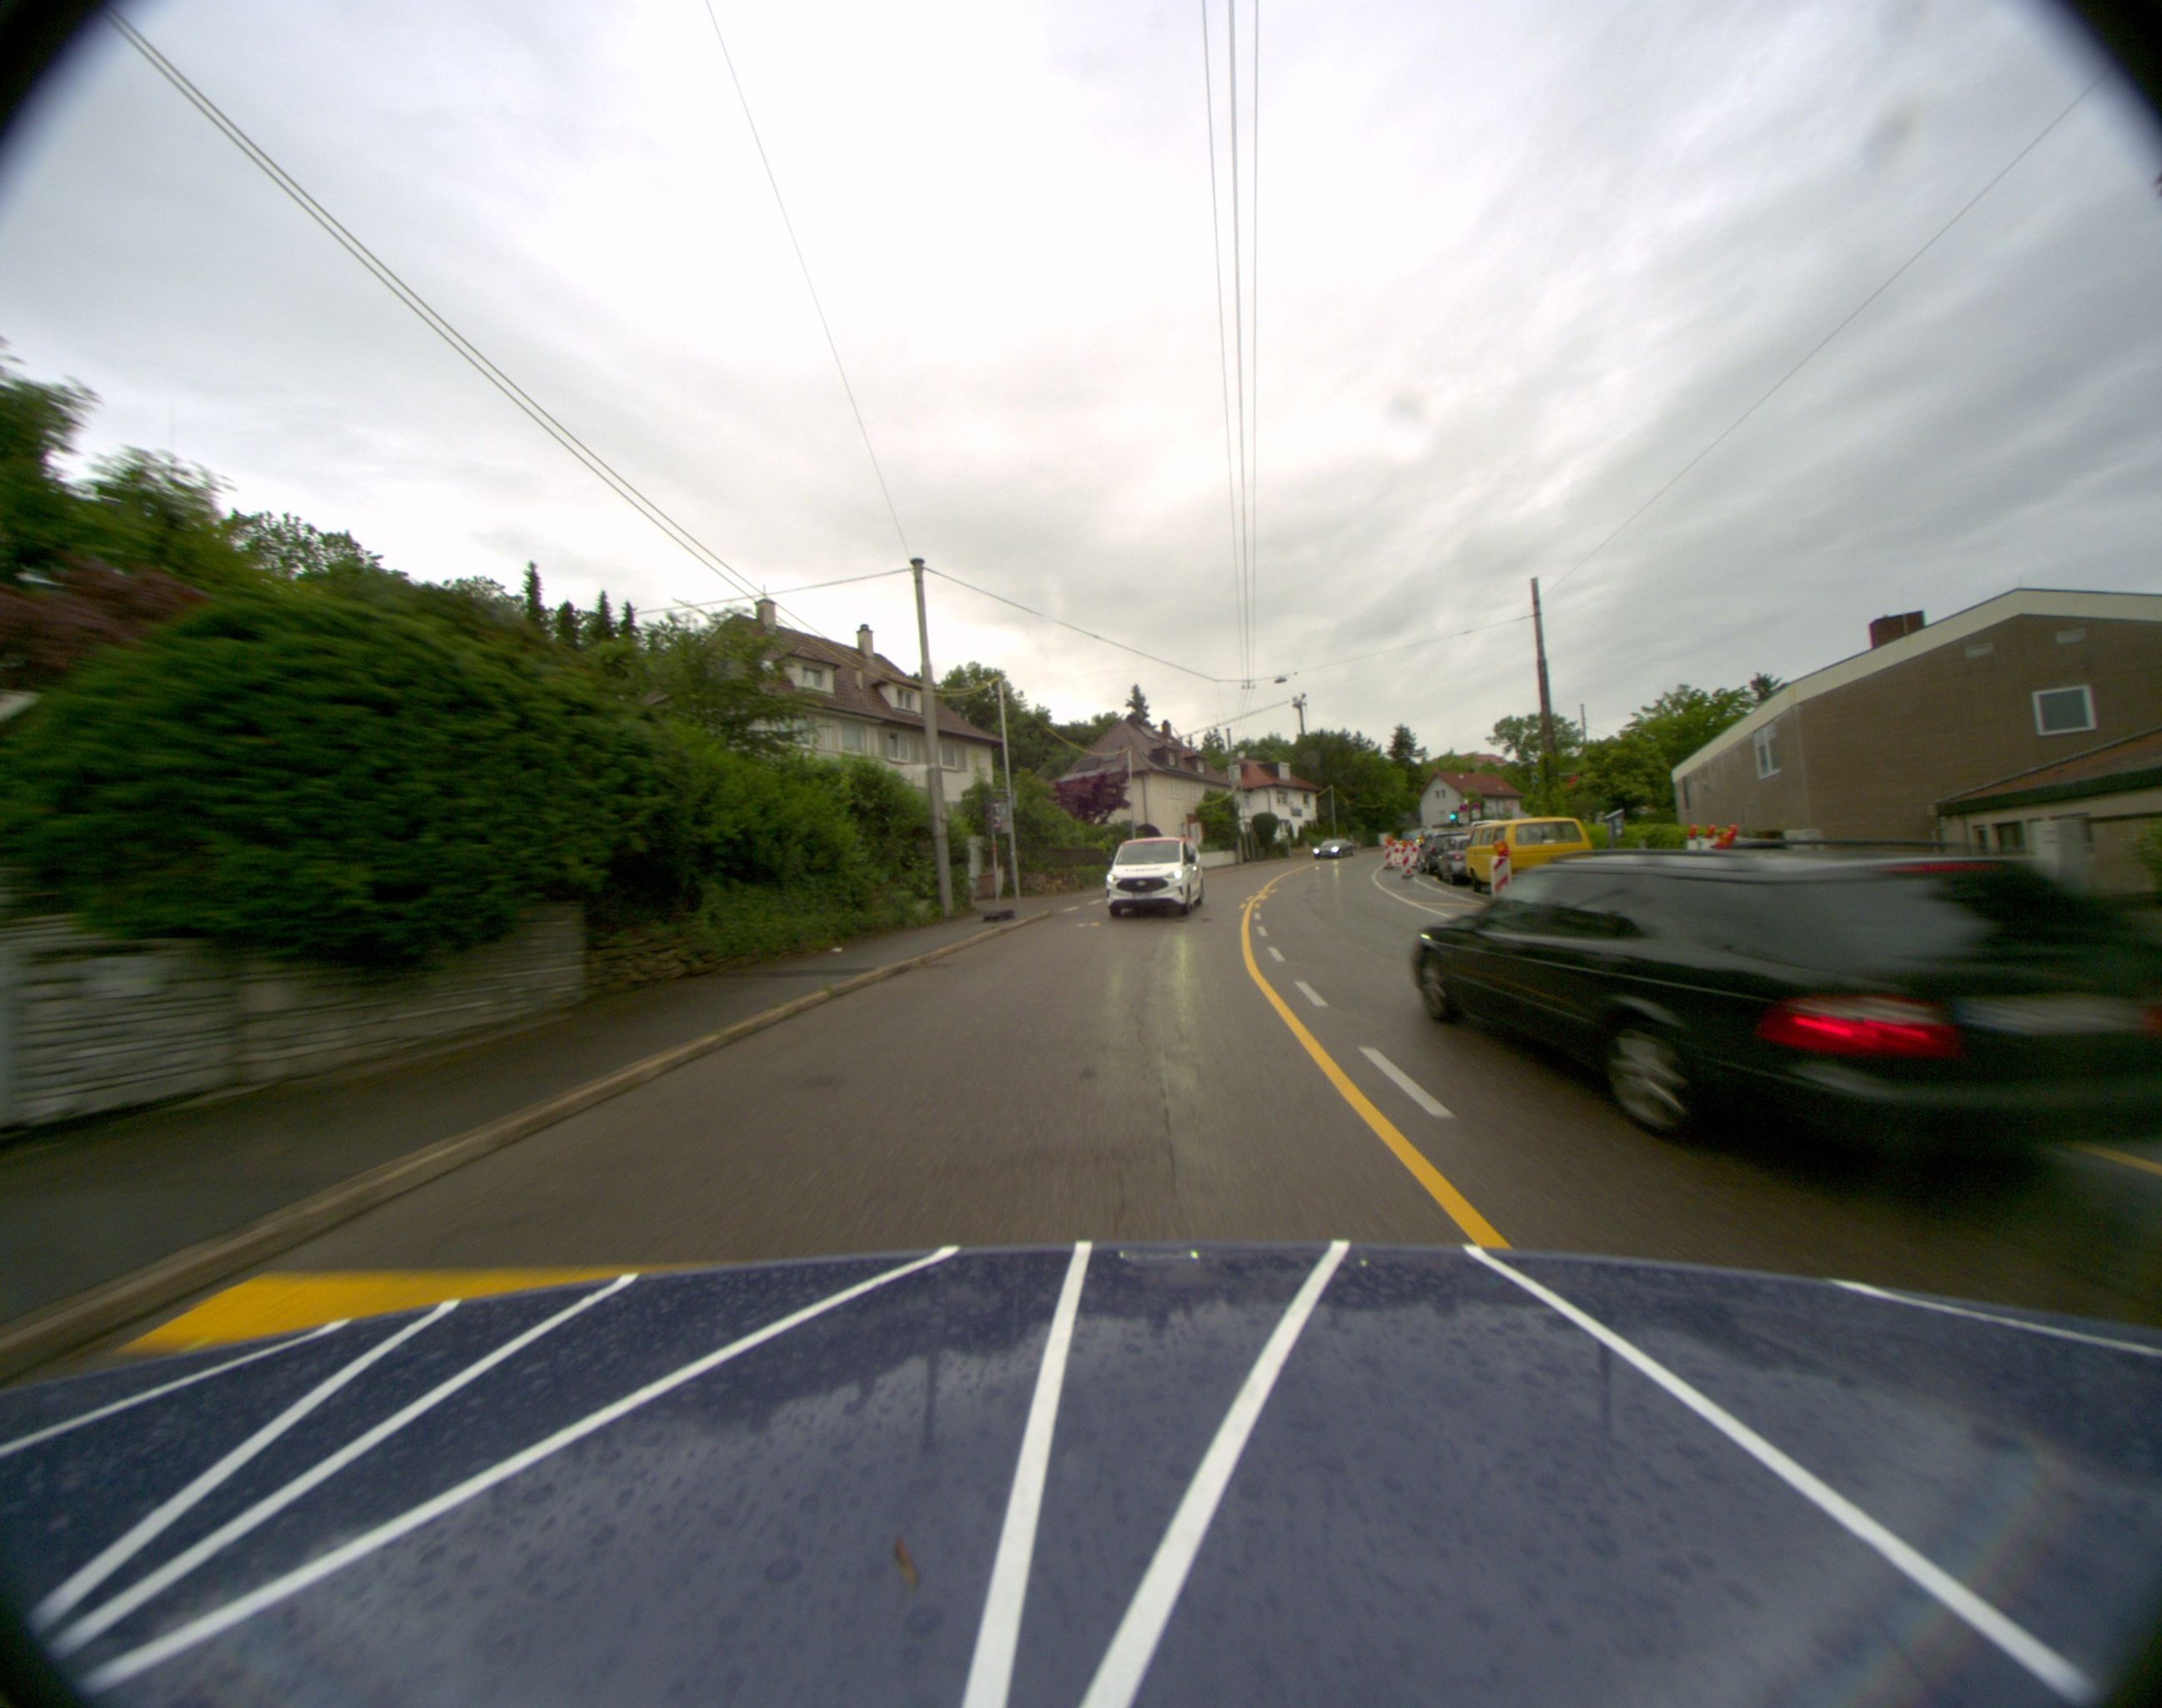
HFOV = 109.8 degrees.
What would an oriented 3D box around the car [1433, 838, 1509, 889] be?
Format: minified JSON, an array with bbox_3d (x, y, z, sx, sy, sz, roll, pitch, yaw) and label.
[{"bbox_3d":[12.794,0.269,25.116,1.576,1.446,3.468,-3,1,17],"label":"car"}]

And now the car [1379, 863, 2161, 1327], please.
[{"bbox_3d":[3.662,0.851,4.906,1.703,1.452,4.684,-3,0,2],"label":"car"}]

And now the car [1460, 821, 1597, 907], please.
[{"bbox_3d":[11.329,0.185,19.591,1.805,1.917,4.581,-2,1,15],"label":"car"}]

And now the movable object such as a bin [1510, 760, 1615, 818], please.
[{"bbox_3d":[62.796,-8.391,99.304,7.046,6.515,9.036,-5,2,-31],"label":"movable object such as a bin"}]

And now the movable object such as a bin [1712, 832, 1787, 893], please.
[{"bbox_3d":[13.441,0.156,15.295,0.860,1.134,0.713,-4,2,12],"label":"movable object such as a bin"}]

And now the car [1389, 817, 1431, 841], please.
[{"bbox_3d":[30.792,-2.332,71.147,4.006,1.928,2.011,-6,2,-41],"label":"car"}]

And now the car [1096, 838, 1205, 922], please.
[{"bbox_3d":[1.977,0.617,20.102,2.039,1.927,4.520,-2,0,16],"label":"car"}]

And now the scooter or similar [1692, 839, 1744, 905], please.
[{"bbox_3d":[13.177,0.348,15.745,0.399,1.253,1.319,-7,1,25],"label":"scooter or similar"}]

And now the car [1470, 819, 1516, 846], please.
[{"bbox_3d":[30.975,-1.620,57.039,1.806,1.790,4.470,-4,1,45],"label":"car"}]

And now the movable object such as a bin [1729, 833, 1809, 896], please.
[{"bbox_3d":[13.177,0.193,14.586,0.860,1.134,0.713,-4,2,12],"label":"movable object such as a bin"}]

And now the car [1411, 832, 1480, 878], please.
[{"bbox_3d":[14.538,-0.026,30.552,1.722,1.598,4.467,-4,0,17],"label":"car"}]

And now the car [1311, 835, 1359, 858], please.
[{"bbox_3d":[19.178,-0.568,57.237,1.985,1.428,4.523,-4,1,37],"label":"car"}]

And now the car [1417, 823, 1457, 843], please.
[{"bbox_3d":[31.217,-1.878,66.634,1.791,1.482,4.679,-4,0,42],"label":"car"}]
